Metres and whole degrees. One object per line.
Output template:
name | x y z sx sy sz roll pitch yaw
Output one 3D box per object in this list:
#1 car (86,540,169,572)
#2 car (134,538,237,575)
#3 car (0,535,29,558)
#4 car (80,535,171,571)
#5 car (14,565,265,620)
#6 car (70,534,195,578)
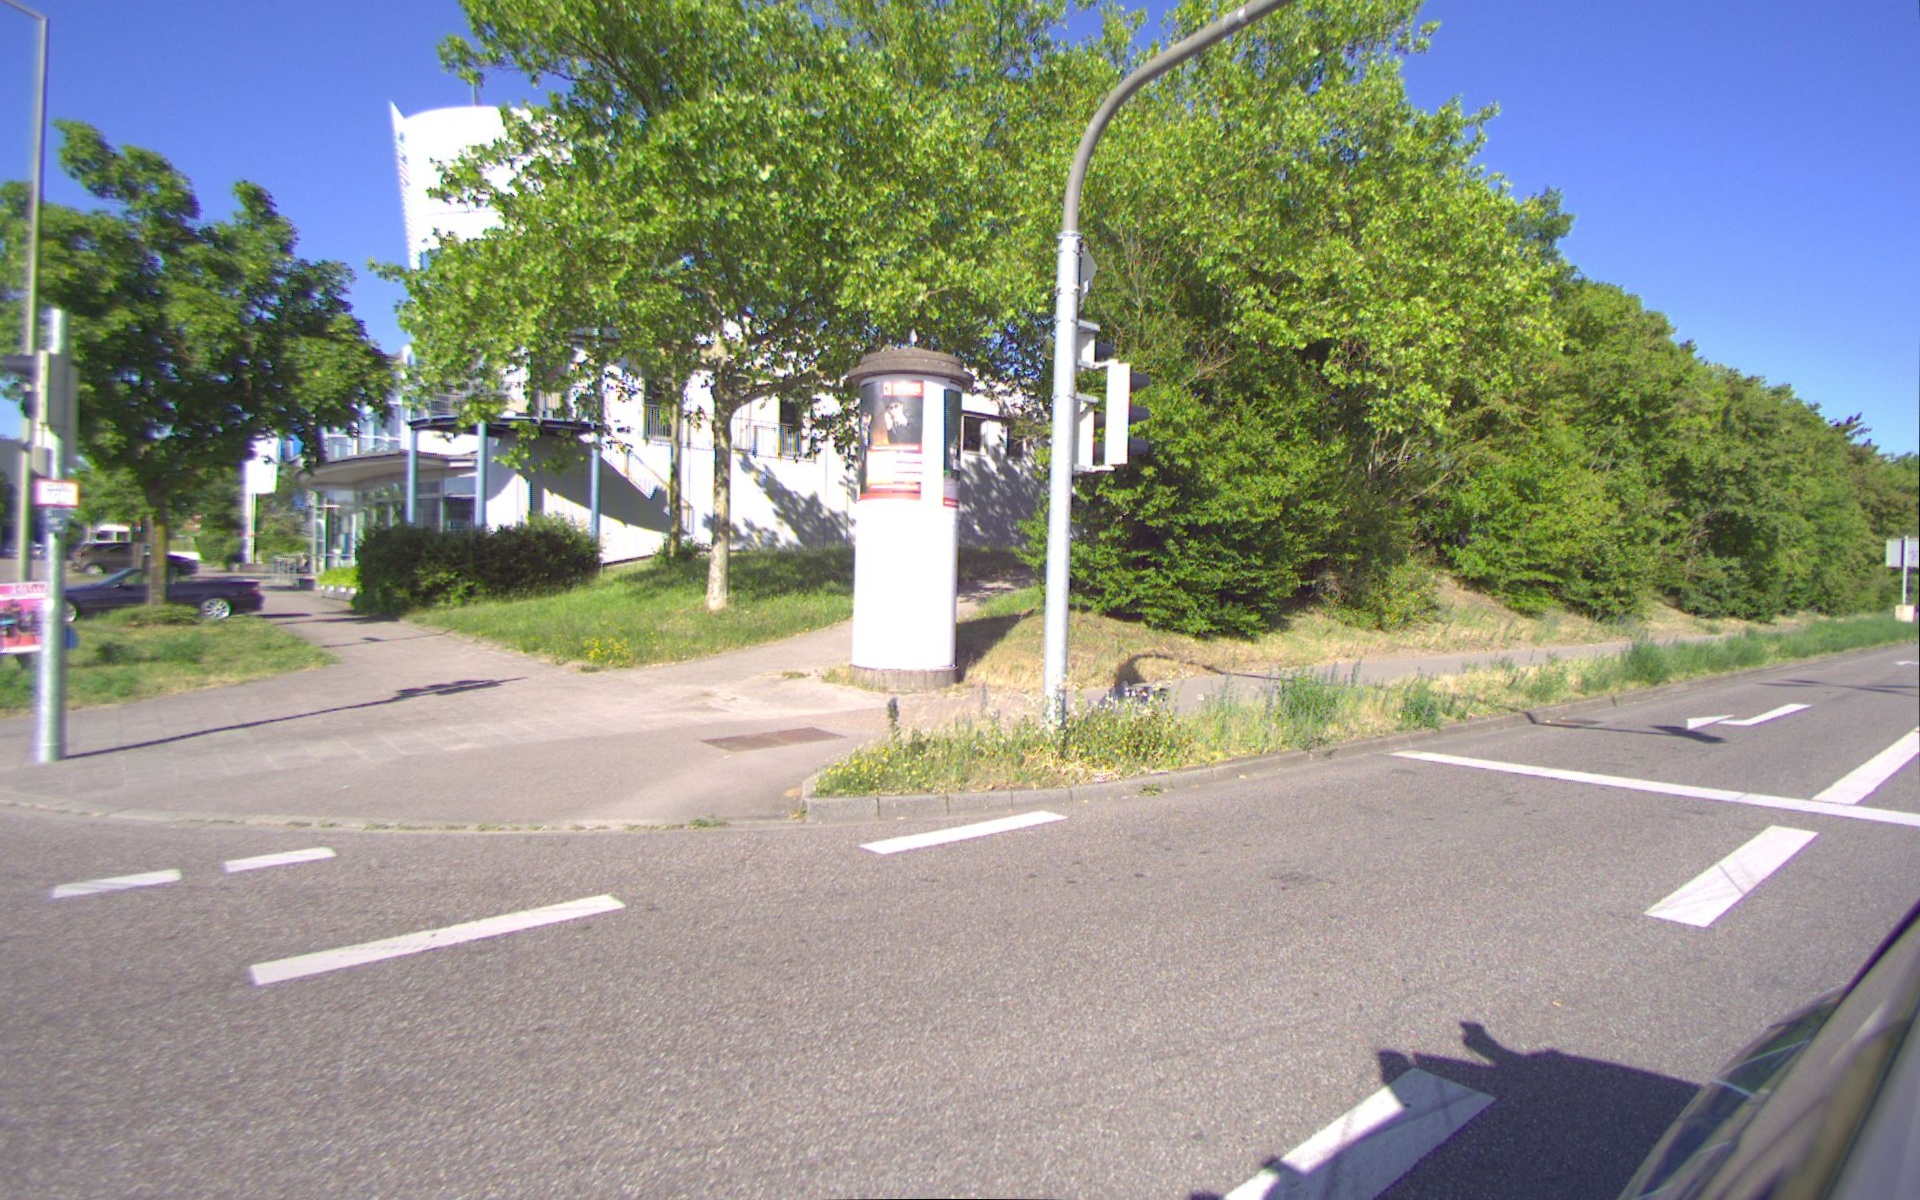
car | -55.829 -2.931 67.931 4.286 2.008 1.720 0 1 -42
car | -41.428 -2.321 54.198 4.286 1.858 1.720 0 2 -42
car | -94.922 -5.354 101.433 1.671 2.039 4.002 0 0 -33
car | -51.567 -2.870 62.566 4.286 2.044 1.720 0 2 -42
car | -18.436 -0.197 22.892 4.287 1.137 1.719 -1 2 -42
car | -37.161 -1.939 45.519 4.286 1.859 1.720 0 1 -42
